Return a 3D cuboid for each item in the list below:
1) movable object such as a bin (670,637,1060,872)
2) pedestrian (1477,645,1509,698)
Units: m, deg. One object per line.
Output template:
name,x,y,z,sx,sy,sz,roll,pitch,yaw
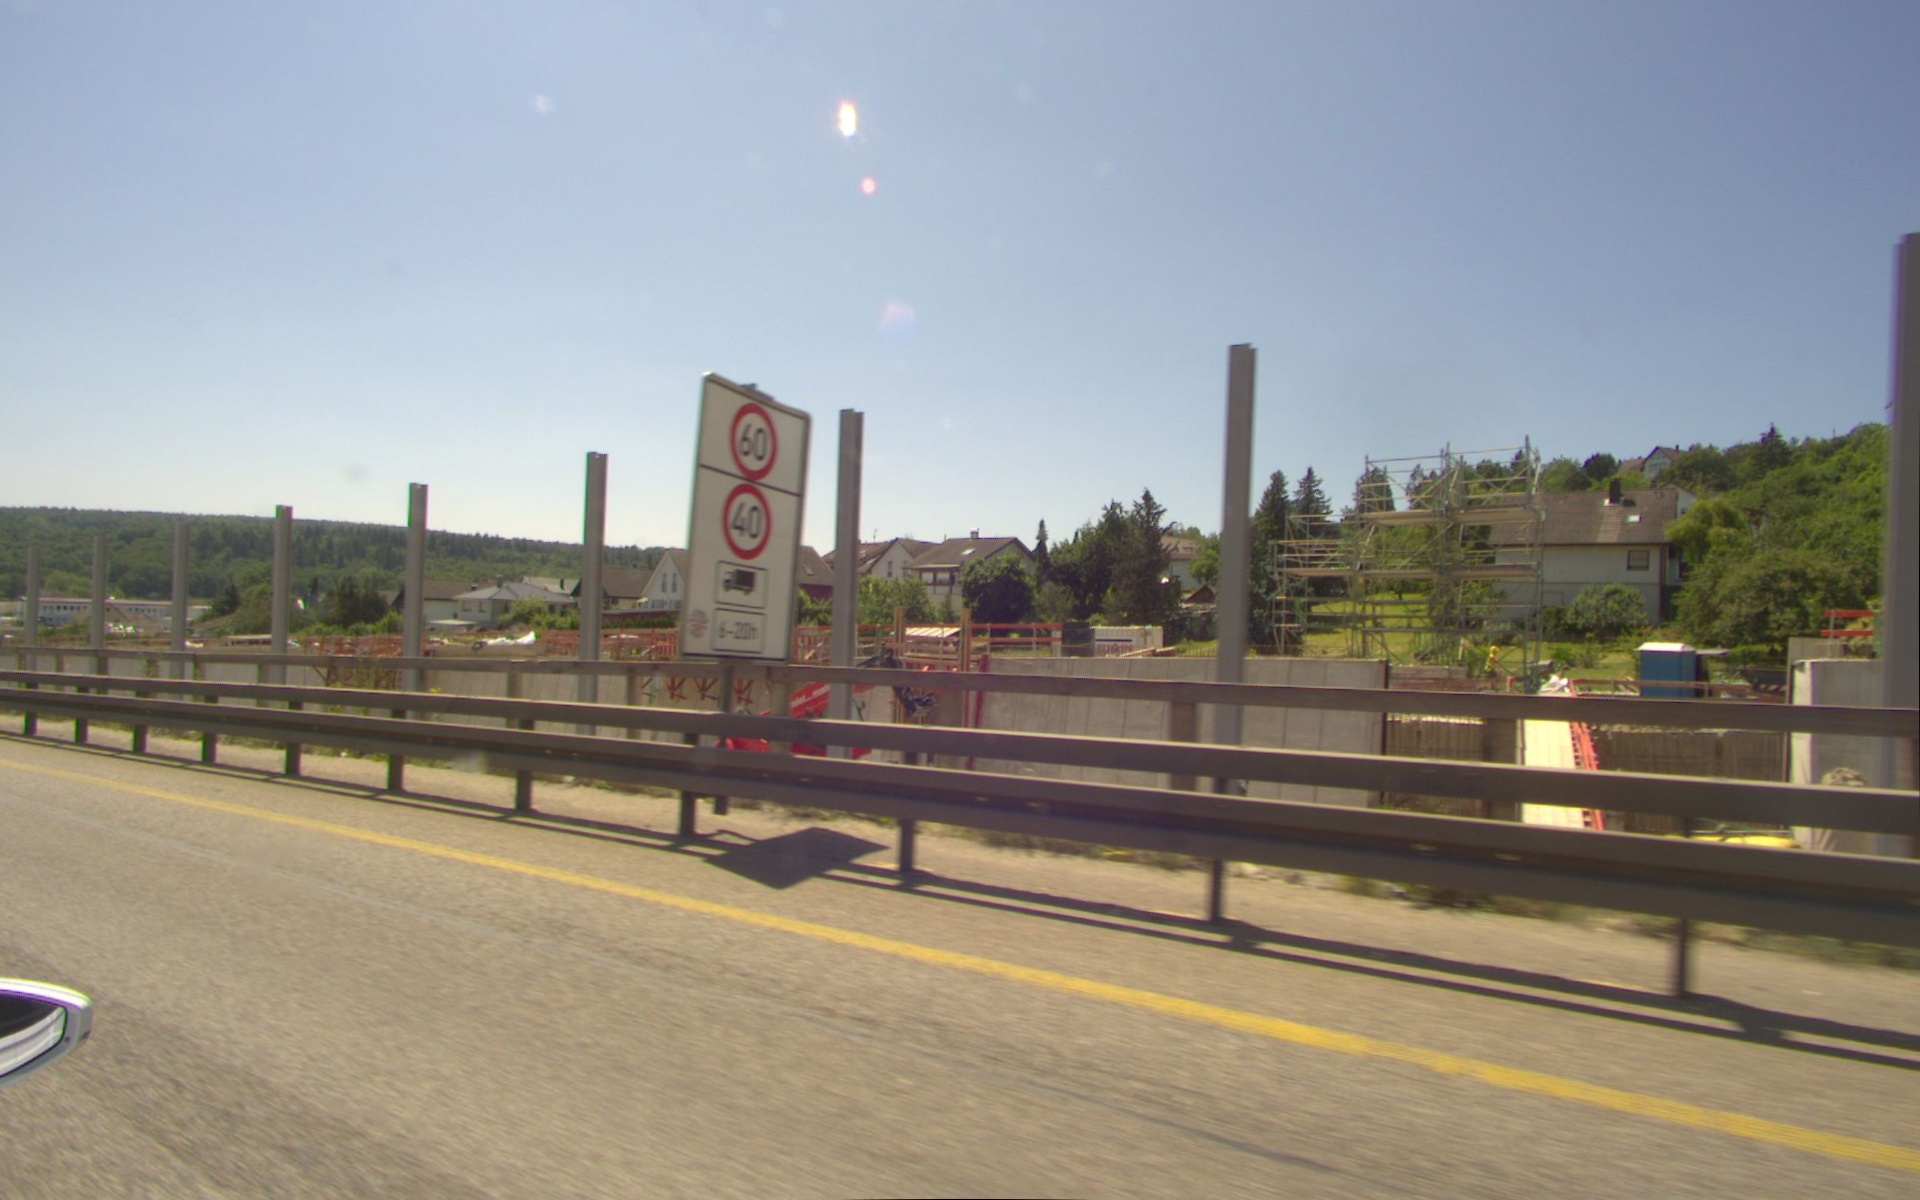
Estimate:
movable object such as a bin,-2.562,3.377,24.483,9.519,4.802,3.222,-2,-2,32
pedestrian,20.881,2.790,39.222,0.960,2.012,1.134,-2,-2,36
